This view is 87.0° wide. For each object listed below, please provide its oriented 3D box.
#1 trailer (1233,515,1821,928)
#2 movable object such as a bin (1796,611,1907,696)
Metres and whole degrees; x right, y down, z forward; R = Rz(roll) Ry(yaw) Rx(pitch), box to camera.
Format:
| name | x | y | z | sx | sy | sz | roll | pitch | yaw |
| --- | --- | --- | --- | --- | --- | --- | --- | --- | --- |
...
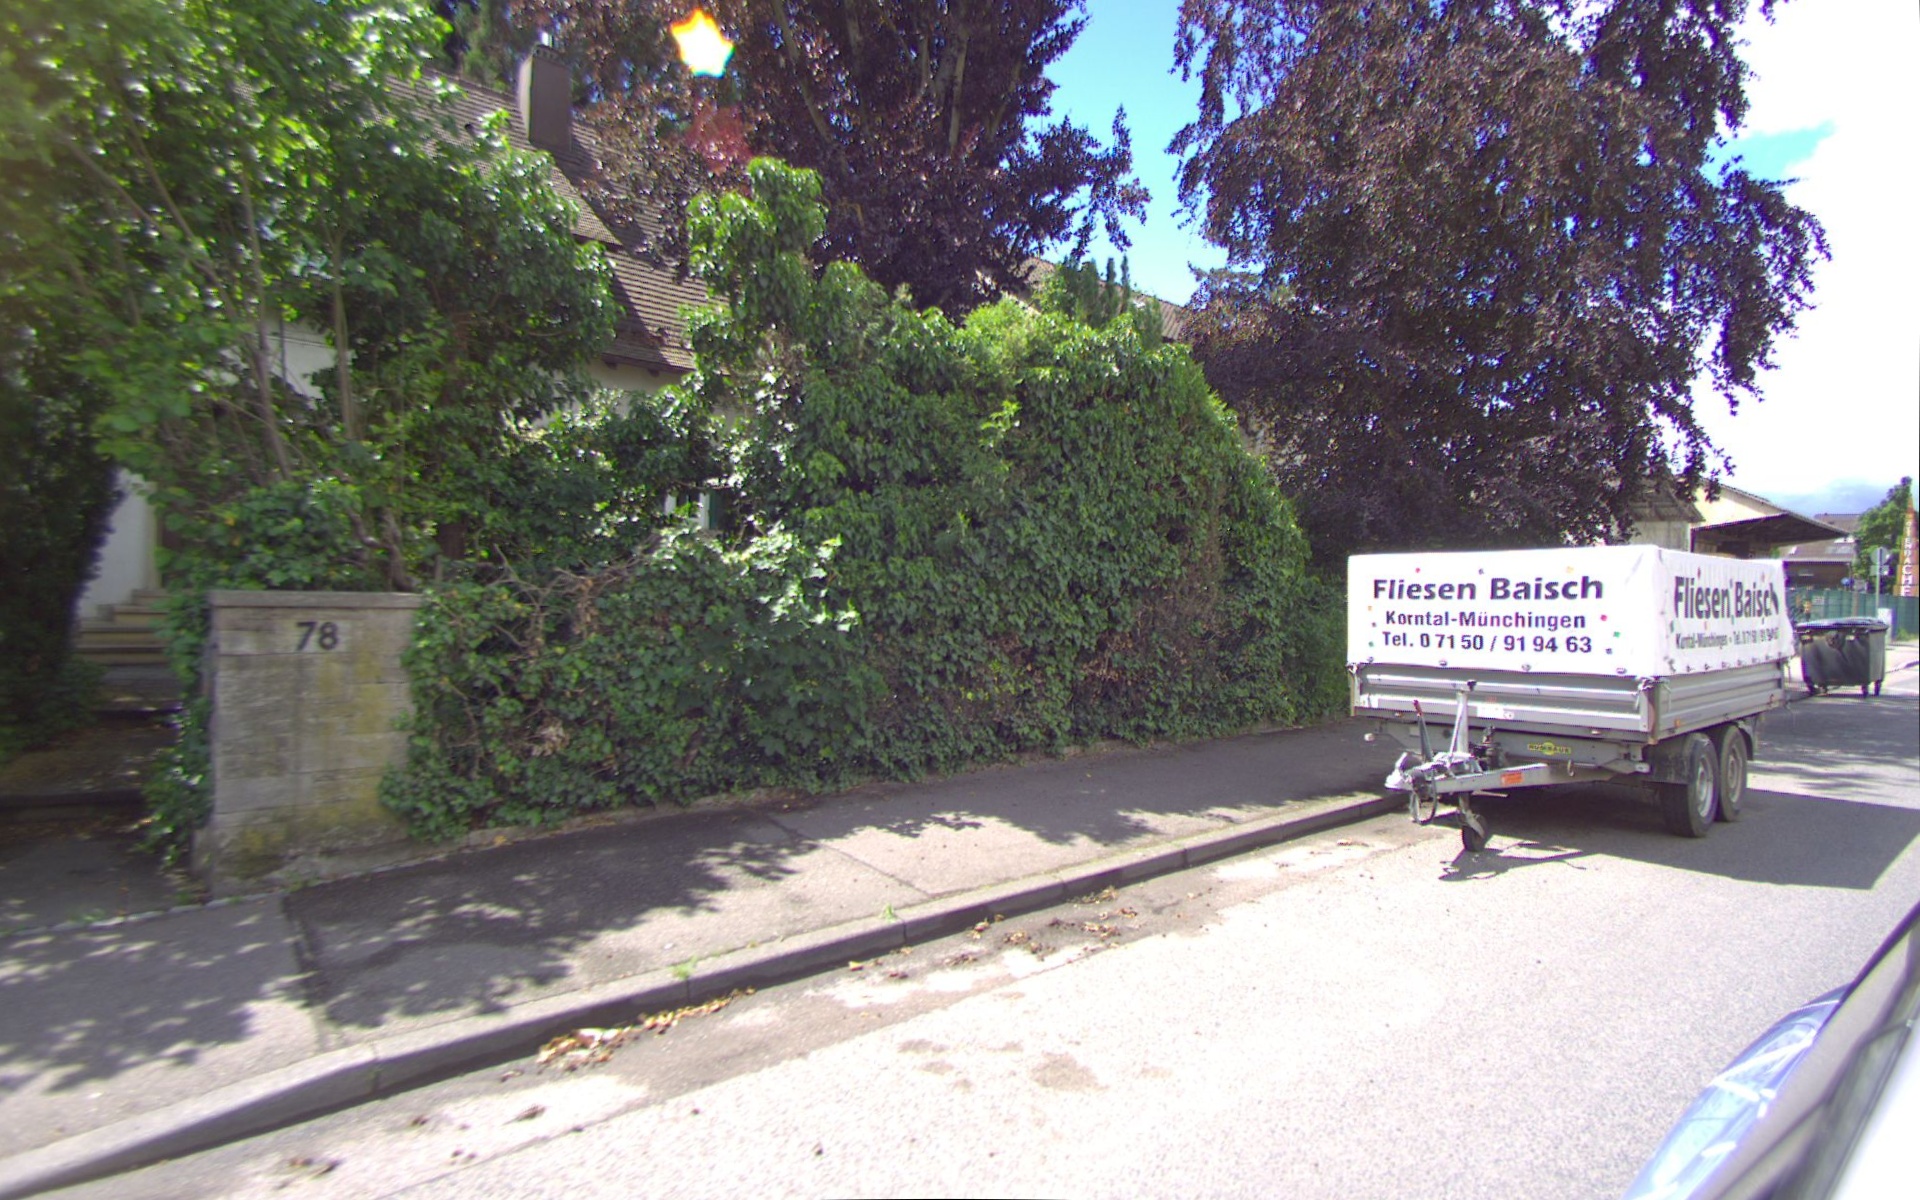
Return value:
| name | x | y | z | sx | sy | sz | roll | pitch | yaw |
| --- | --- | --- | --- | --- | --- | --- | --- | --- | --- |
| trailer | 4.049 | 0.545 | 6.829 | 4.681 | 1.846 | 1.997 | 0 | 0 | -41 |
| movable object such as a bin | 15.094 | 0.872 | 17.136 | 1.332 | 1.307 | 1.117 | 1 | 2 | -36 |
